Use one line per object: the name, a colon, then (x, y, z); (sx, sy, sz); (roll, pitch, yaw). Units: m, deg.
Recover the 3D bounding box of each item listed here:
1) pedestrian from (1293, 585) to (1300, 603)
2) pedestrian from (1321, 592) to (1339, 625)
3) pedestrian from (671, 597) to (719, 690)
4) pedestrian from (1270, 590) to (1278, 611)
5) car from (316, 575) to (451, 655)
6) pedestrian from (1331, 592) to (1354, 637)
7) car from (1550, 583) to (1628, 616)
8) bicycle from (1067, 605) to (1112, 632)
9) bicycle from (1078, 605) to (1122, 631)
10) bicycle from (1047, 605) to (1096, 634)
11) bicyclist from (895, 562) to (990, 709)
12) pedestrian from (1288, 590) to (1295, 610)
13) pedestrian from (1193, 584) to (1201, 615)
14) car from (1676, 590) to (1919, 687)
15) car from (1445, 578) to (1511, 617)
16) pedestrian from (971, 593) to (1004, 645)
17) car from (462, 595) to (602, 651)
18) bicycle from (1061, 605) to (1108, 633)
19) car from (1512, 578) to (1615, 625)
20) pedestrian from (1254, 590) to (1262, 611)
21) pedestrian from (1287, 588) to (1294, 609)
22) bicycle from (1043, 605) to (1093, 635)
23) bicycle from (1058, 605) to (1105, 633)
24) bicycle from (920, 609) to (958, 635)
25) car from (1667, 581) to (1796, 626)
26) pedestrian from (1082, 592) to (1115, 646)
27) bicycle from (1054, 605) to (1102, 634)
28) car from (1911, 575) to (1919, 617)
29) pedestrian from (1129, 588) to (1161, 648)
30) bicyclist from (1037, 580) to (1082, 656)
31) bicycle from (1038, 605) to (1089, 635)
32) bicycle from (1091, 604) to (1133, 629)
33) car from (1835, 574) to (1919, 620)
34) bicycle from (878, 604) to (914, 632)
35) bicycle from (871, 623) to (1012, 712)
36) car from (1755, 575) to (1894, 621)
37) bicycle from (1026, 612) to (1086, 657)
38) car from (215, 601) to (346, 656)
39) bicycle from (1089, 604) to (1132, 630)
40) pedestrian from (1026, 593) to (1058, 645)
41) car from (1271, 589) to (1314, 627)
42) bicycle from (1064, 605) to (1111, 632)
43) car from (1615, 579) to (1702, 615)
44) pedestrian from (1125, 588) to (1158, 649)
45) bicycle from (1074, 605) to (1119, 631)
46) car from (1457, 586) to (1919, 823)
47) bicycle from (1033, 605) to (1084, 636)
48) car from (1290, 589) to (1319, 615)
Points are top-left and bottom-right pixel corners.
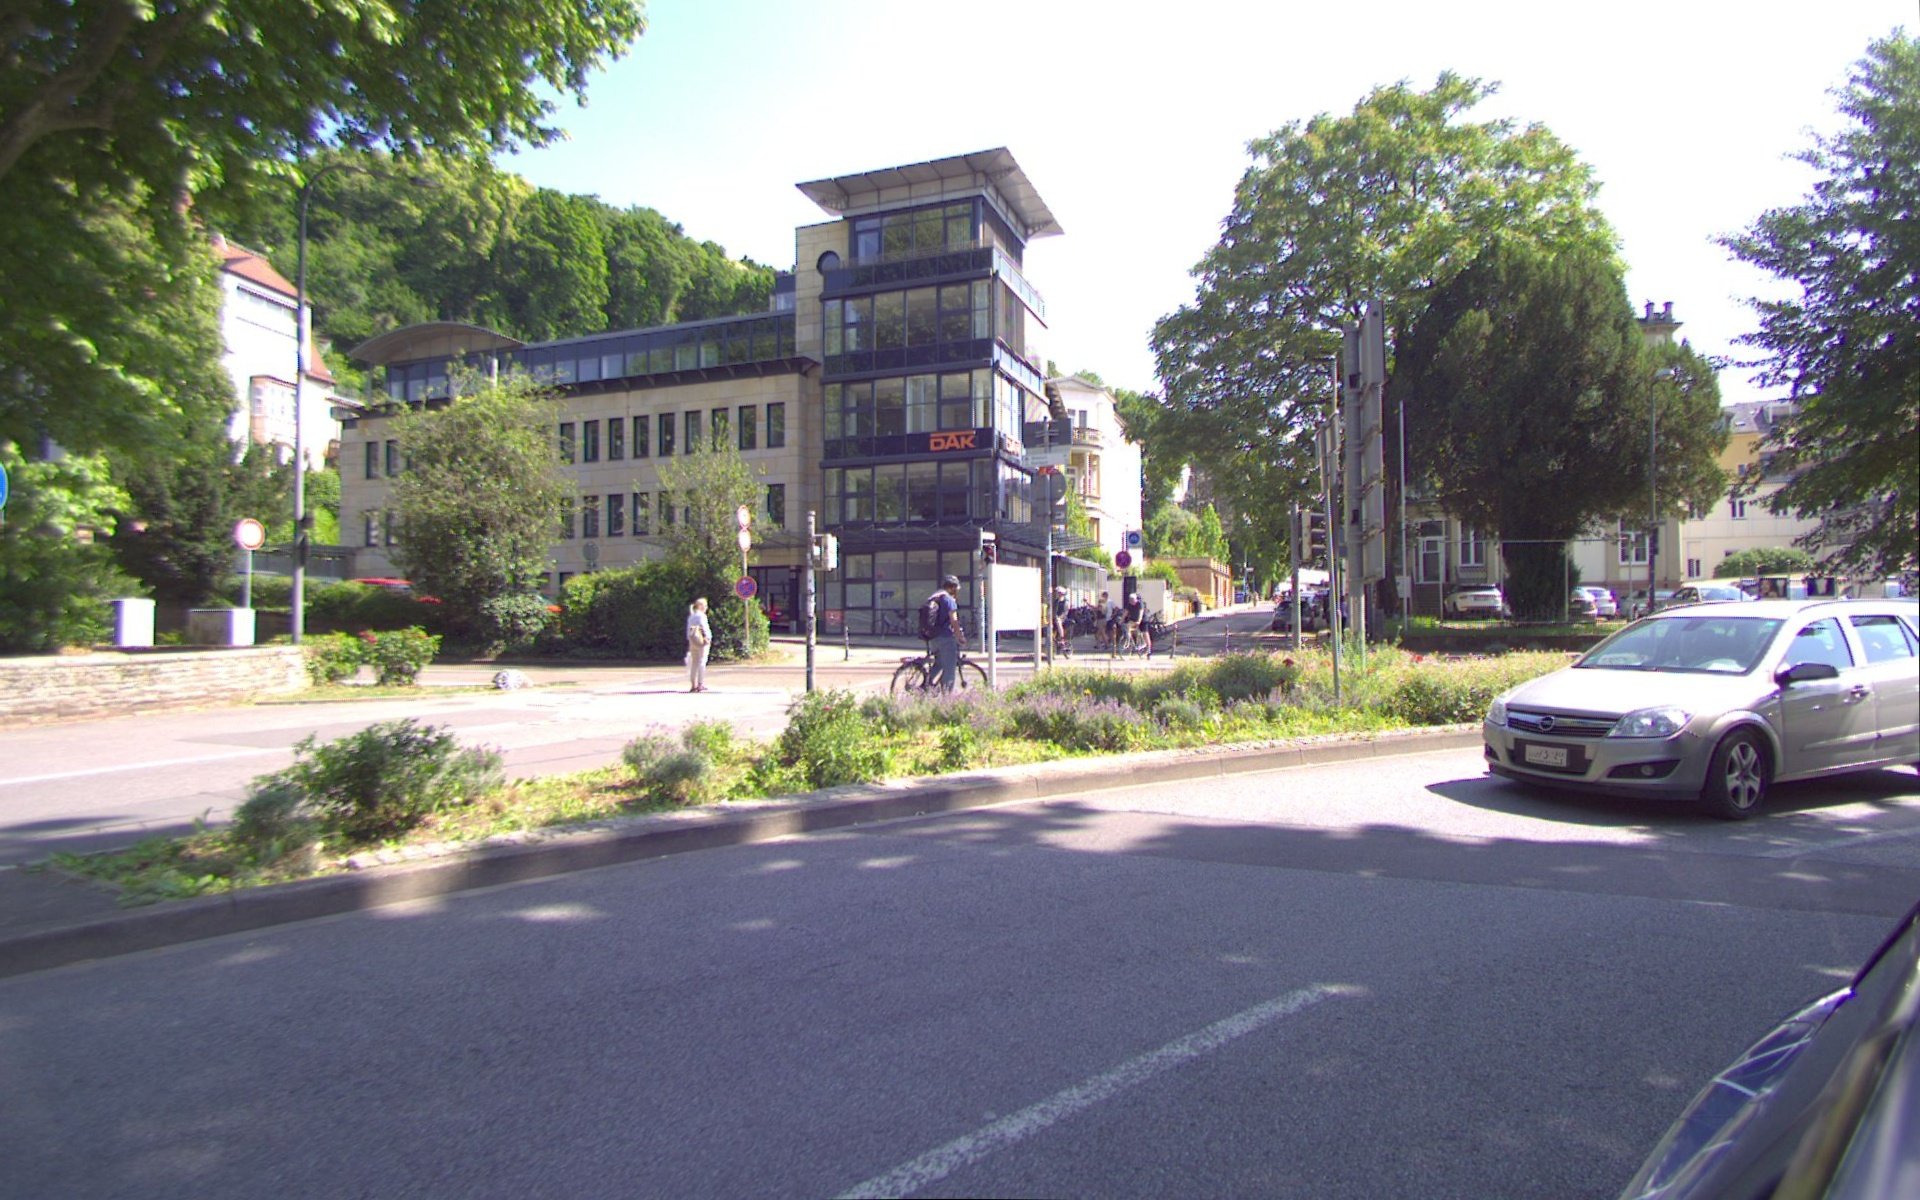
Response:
pedestrian: (37.619, -0.661, 113.064); (0.713, 2.039, 0.856); (-1, -1, 18)
pedestrian: (17.394, 0.397, 47.637); (0.761, 1.566, 0.662); (-1, -1, 20)
pedestrian: (-4.751, 0.771, 18.174); (0.628, 1.641, 0.543); (-1, -1, 28)
pedestrian: (31.825, 0.047, 102.556); (0.713, 2.039, 1.012); (-1, -1, 18)
car: (-19.791, 0.530, 34.779); (3.947, 2.605, 1.926); (-2, -1, 19)
pedestrian: (13.838, 0.523, 36.624); (0.732, 1.601, 1.115); (-2, -1, 20)
car: (27.441, -0.020, 44.298); (1.796, 1.353, 4.068); (-1, -1, 16)
bicycle: (5.408, 0.764, 42.279); (1.812, 1.099, 0.535); (-1, -1, 21)
bicycle: (5.993, 0.759, 43.369); (1.812, 1.099, 0.535); (-1, -1, 21)
bicycle: (4.334, 0.764, 39.356); (1.812, 1.099, 0.535); (-1, -1, 21)
bicyclist: (-0.245, 0.480, 14.189); (0.745, 1.957, 1.112); (-3, -2, 44)
pedestrian: (35.347, 0.011, 107.942); (0.713, 2.039, 0.856); (-1, -1, 18)
pedestrian: (15.694, -0.056, 66.893); (0.486, 2.039, 0.577); (-1, -1, 14)
car: (14.655, 0.583, 16.258); (4.683, 1.456, 1.990); (-1, 0, 15)
car: (22.845, -0.089, 44.784); (1.796, 1.624, 4.299); (-1, -1, 16)
pedestrian: (0.894, 0.621, 33.281); (0.822, 1.684, 0.765); (-1, -2, 29)
car: (-13.902, 0.744, 32.930); (3.947, 1.719, 1.926); (-2, -1, 19)
bicycle: (5.052, 0.762, 41.105); (1.812, 1.099, 0.535); (-1, -1, 21)
car: (20.763, 0.066, 35.010); (1.850, 1.494, 4.138); (-1, -1, 14)
pedestrian: (28.672, 0.076, 97.253); (0.713, 2.039, 0.856); (-1, -1, 18)
pedestrian: (33.053, -0.172, 101.207); (0.713, 2.039, 0.856); (-1, -1, 18)
bicycle: (4.137, 0.763, 38.796); (1.812, 1.099, 0.535); (-1, -1, 21)
bicycle: (4.868, 0.761, 40.537); (1.812, 1.099, 0.535); (-1, -1, 21)
bicycle: (-0.779, 0.825, 37.340); (1.324, 0.953, 0.404); (-1, -1, 20)
car: (25.094, 0.133, 33.117); (1.796, 1.353, 4.457); (-1, -1, 16)
pedestrian: (4.343, 0.600, 31.664); (0.820, 1.684, 0.767); (-1, -2, 24)
bicycle: (4.646, 0.761, 39.898); (1.812, 1.099, 0.535); (-1, -1, 21)
car: (31.730, -0.159, 31.100); (1.963, 1.353, 4.032); (-1, -1, 16)
pedestrian: (5.915, 0.584, 32.375); (0.820, 1.878, 0.767); (-1, -2, 25)
bicyclist: (2.630, 0.483, 26.776); (0.742, 1.957, 1.117); (-2, -2, 31)
bicycle: (3.909, 0.764, 38.196); (1.812, 1.099, 0.535); (-1, -1, 21)
bicycle: (6.853, 0.759, 45.678); (1.812, 1.099, 0.535); (-1, -1, 21)
car: (29.616, -0.103, 31.658); (1.834, 1.353, 4.032); (-1, -1, 16)
bicycle: (-2.413, 0.672, 38.214); (1.324, 1.025, 0.404); (-1, -1, 20)
bicycle: (-0.225, 0.901, 14.188); (0.754, 1.127, 2.050); (-2, -2, 43)
car: (27.518, -0.047, 32.387); (1.796, 1.353, 4.077); (-1, -1, 16)
bicycle: (2.550, 0.897, 26.623); (0.750, 1.127, 2.060); (-1, -1, 30)
car: (-24.418, 1.015, 36.388); (3.947, 1.886, 1.926); (-2, -1, 19)
bicycle: (6.697, 0.758, 45.096); (1.812, 1.099, 0.535); (-1, -1, 21)
pedestrian: (2.699, 0.614, 33.243); (0.822, 1.684, 0.765); (-1, -2, 29)
car: (15.494, 0.375, 47.150); (1.810, 1.667, 4.107); (-1, 0, 19)
bicycle: (5.255, 0.763, 41.718); (1.812, 1.099, 0.535); (-1, -1, 21)
car: (29.762, -0.127, 43.262); (1.796, 1.437, 4.041); (-1, -1, 16)
pedestrian: (5.666, 0.567, 31.581); (0.820, 1.878, 0.767); (-1, -2, 23)
bicycle: (5.782, 0.759, 42.760); (1.812, 1.099, 0.535); (-1, -1, 21)
car: (6.344, 0.655, 8.059); (4.396, 1.519, 1.724); (0, 0, -20)
bicycle: (3.676, 0.765, 37.688); (1.812, 1.099, 0.535); (-1, -1, 21)
car: (23.363, 0.122, 68.649); (1.810, 1.667, 4.107); (-1, 0, 19)
